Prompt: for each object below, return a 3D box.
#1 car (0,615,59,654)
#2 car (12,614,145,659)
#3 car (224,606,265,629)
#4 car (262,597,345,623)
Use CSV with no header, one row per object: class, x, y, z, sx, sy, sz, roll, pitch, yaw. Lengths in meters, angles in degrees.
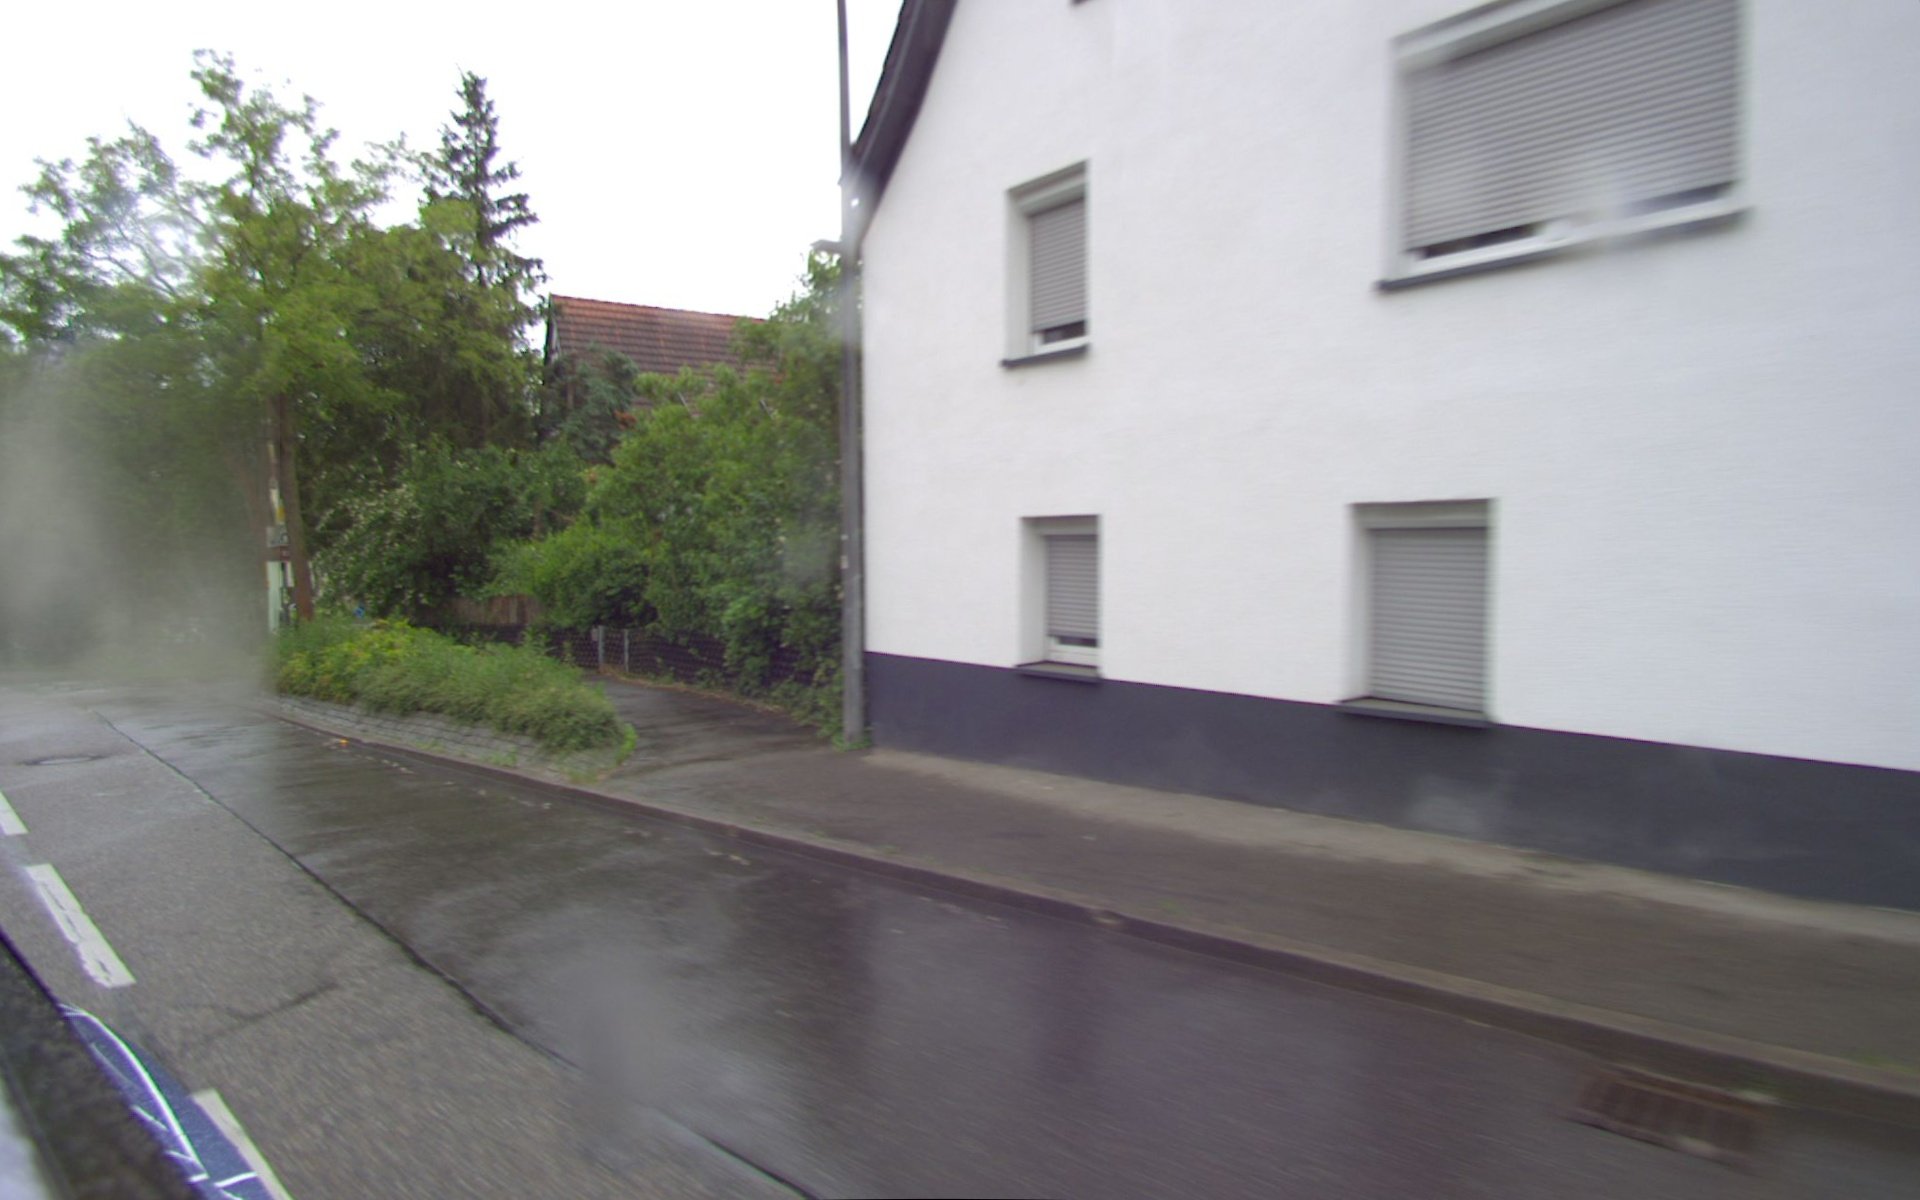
car,-41.833,1.536,43.736,4.089,1.547,1.759,-2,2,-2
car,-35.018,1.409,40.350,1.970,1.541,4.005,-2,1,-5
car,-50.031,1.207,70.841,1.574,1.507,4.013,-3,1,-24
car,-42.809,0.646,66.097,4.191,1.449,1.915,-2,3,-23
